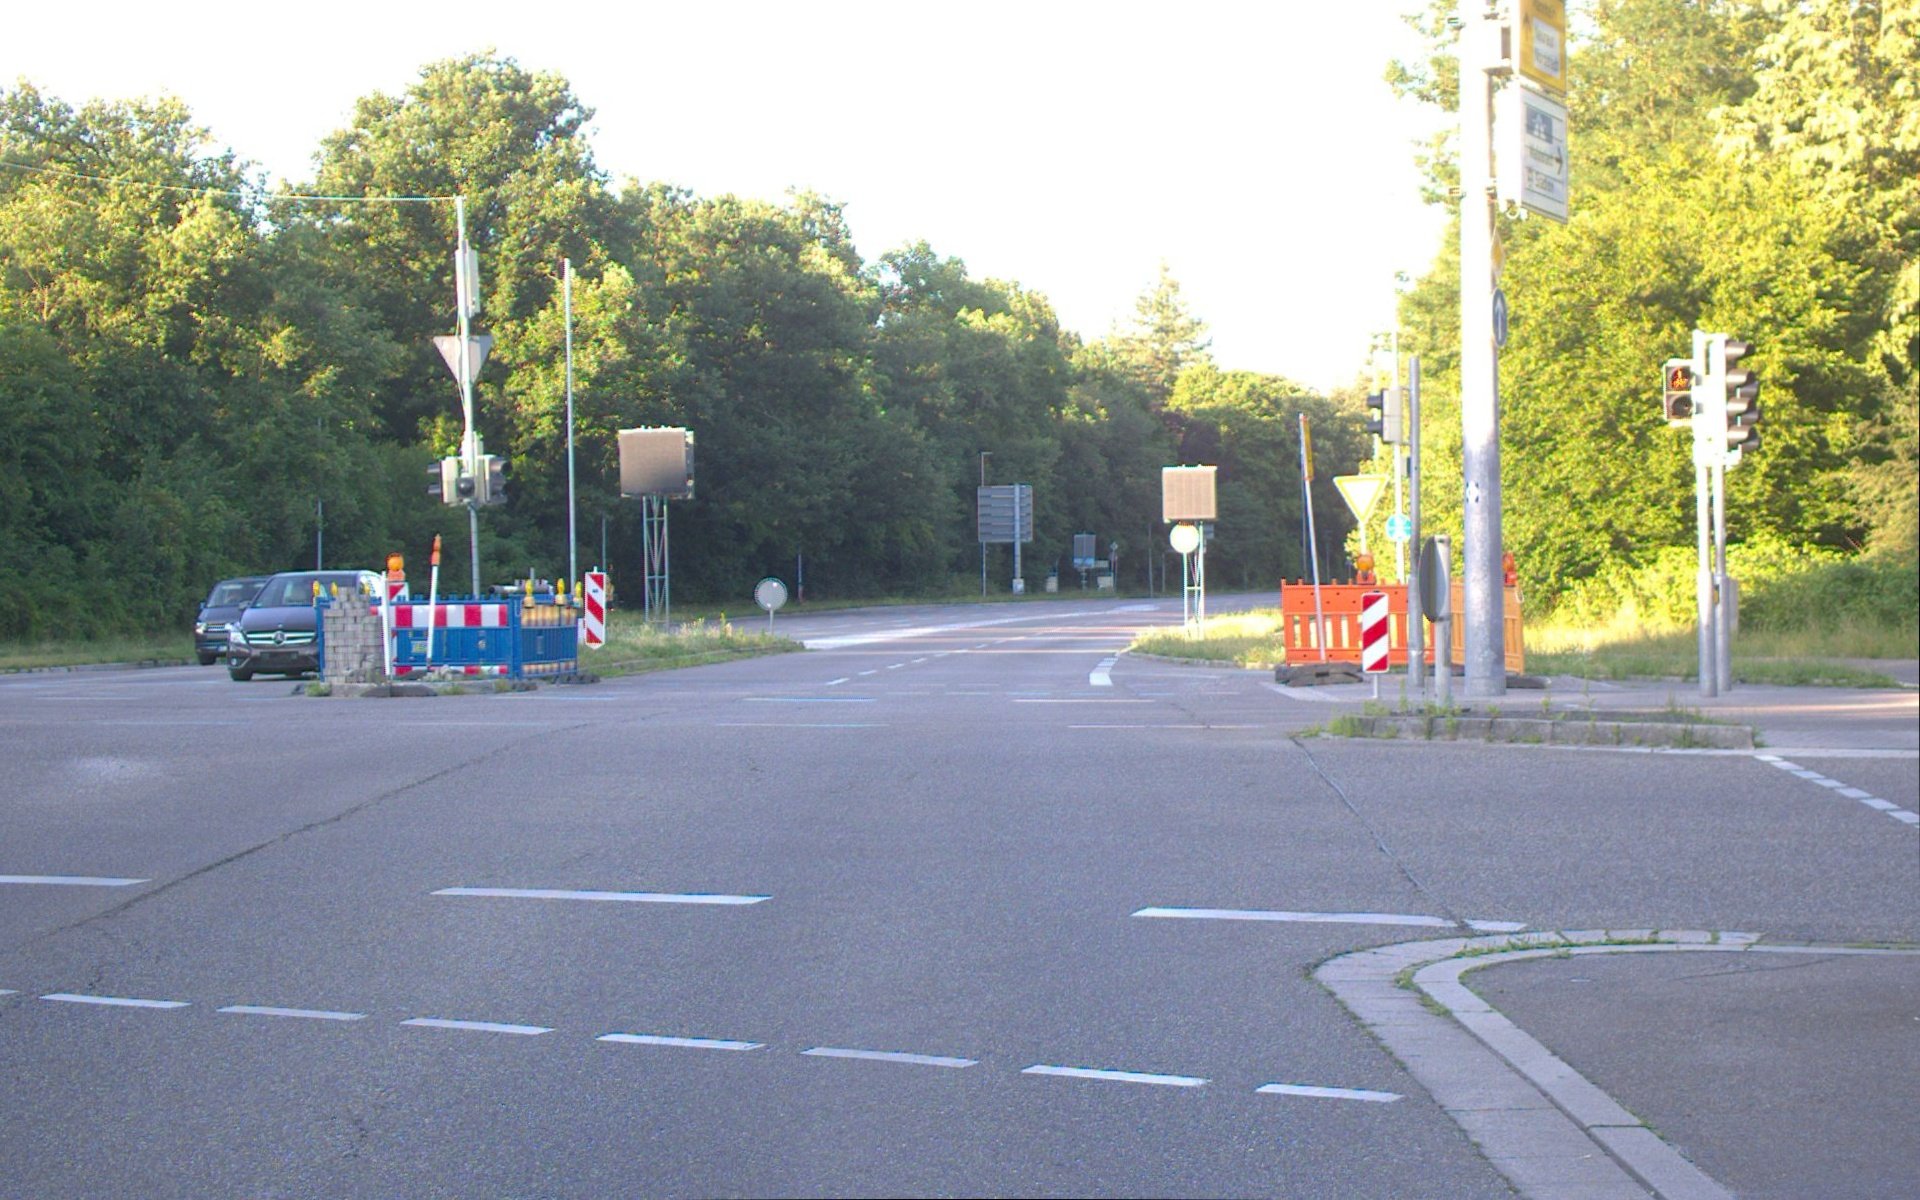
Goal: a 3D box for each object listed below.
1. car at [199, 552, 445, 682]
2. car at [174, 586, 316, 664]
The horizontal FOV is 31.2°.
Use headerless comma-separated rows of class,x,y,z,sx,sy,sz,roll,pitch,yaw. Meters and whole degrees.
car,-8.938,0.210,48.509,1.994,1.634,3.998,-2,2,12
car,-15.933,0.542,76.778,1.994,1.634,3.999,0,1,6
